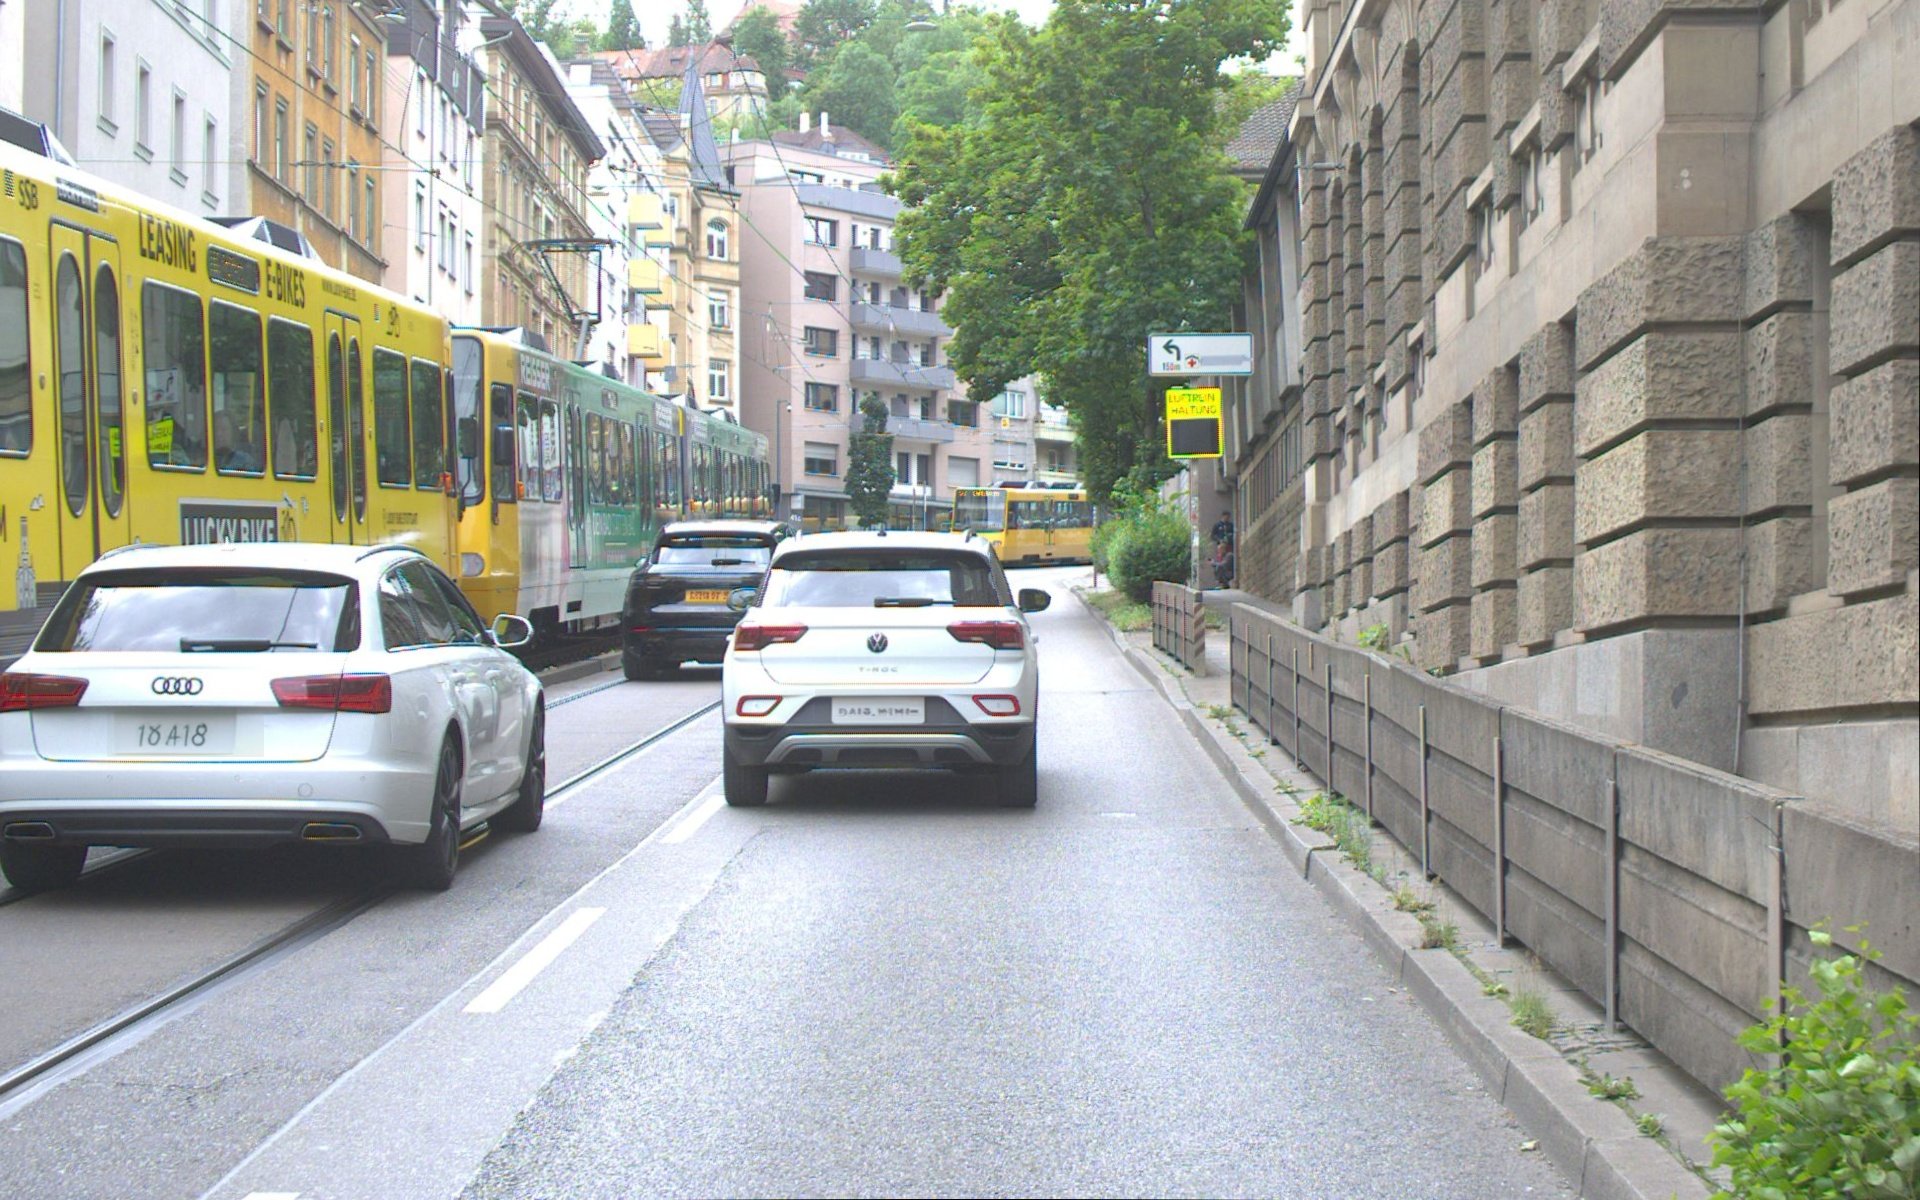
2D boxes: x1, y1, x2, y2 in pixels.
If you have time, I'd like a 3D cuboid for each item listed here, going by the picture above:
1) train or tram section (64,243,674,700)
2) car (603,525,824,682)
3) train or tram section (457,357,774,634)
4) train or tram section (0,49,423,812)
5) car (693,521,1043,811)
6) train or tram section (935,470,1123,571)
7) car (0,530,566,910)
[{"bbox_3d":[-5.695,-1.237,37.924,2.876,3.713,18.756,2,1,2],"label":"train or tram section"},{"bbox_3d":[-2.569,-0.009,36.767,2.038,1.566,4.358,0,1,0],"label":"car"},{"bbox_3d":[-5.251,-1.609,56.687,2.876,3.713,18.757,2,1,1],"label":"train or tram section"},{"bbox_3d":[-6.085,-0.893,19.193,2.876,3.713,18.703,2,1,1],"label":"train or tram section"},{"bbox_3d":[-0.453,0.316,20.470,1.879,1.549,4.000,0,1,1],"label":"car"},{"bbox_3d":[3.299,-3.517,152.940,3.019,4.199,18.843,1,1,18],"label":"train or tram section"},{"bbox_3d":[-3.005,0.425,15.539,1.879,1.450,4.617,1,1,0],"label":"car"}]
